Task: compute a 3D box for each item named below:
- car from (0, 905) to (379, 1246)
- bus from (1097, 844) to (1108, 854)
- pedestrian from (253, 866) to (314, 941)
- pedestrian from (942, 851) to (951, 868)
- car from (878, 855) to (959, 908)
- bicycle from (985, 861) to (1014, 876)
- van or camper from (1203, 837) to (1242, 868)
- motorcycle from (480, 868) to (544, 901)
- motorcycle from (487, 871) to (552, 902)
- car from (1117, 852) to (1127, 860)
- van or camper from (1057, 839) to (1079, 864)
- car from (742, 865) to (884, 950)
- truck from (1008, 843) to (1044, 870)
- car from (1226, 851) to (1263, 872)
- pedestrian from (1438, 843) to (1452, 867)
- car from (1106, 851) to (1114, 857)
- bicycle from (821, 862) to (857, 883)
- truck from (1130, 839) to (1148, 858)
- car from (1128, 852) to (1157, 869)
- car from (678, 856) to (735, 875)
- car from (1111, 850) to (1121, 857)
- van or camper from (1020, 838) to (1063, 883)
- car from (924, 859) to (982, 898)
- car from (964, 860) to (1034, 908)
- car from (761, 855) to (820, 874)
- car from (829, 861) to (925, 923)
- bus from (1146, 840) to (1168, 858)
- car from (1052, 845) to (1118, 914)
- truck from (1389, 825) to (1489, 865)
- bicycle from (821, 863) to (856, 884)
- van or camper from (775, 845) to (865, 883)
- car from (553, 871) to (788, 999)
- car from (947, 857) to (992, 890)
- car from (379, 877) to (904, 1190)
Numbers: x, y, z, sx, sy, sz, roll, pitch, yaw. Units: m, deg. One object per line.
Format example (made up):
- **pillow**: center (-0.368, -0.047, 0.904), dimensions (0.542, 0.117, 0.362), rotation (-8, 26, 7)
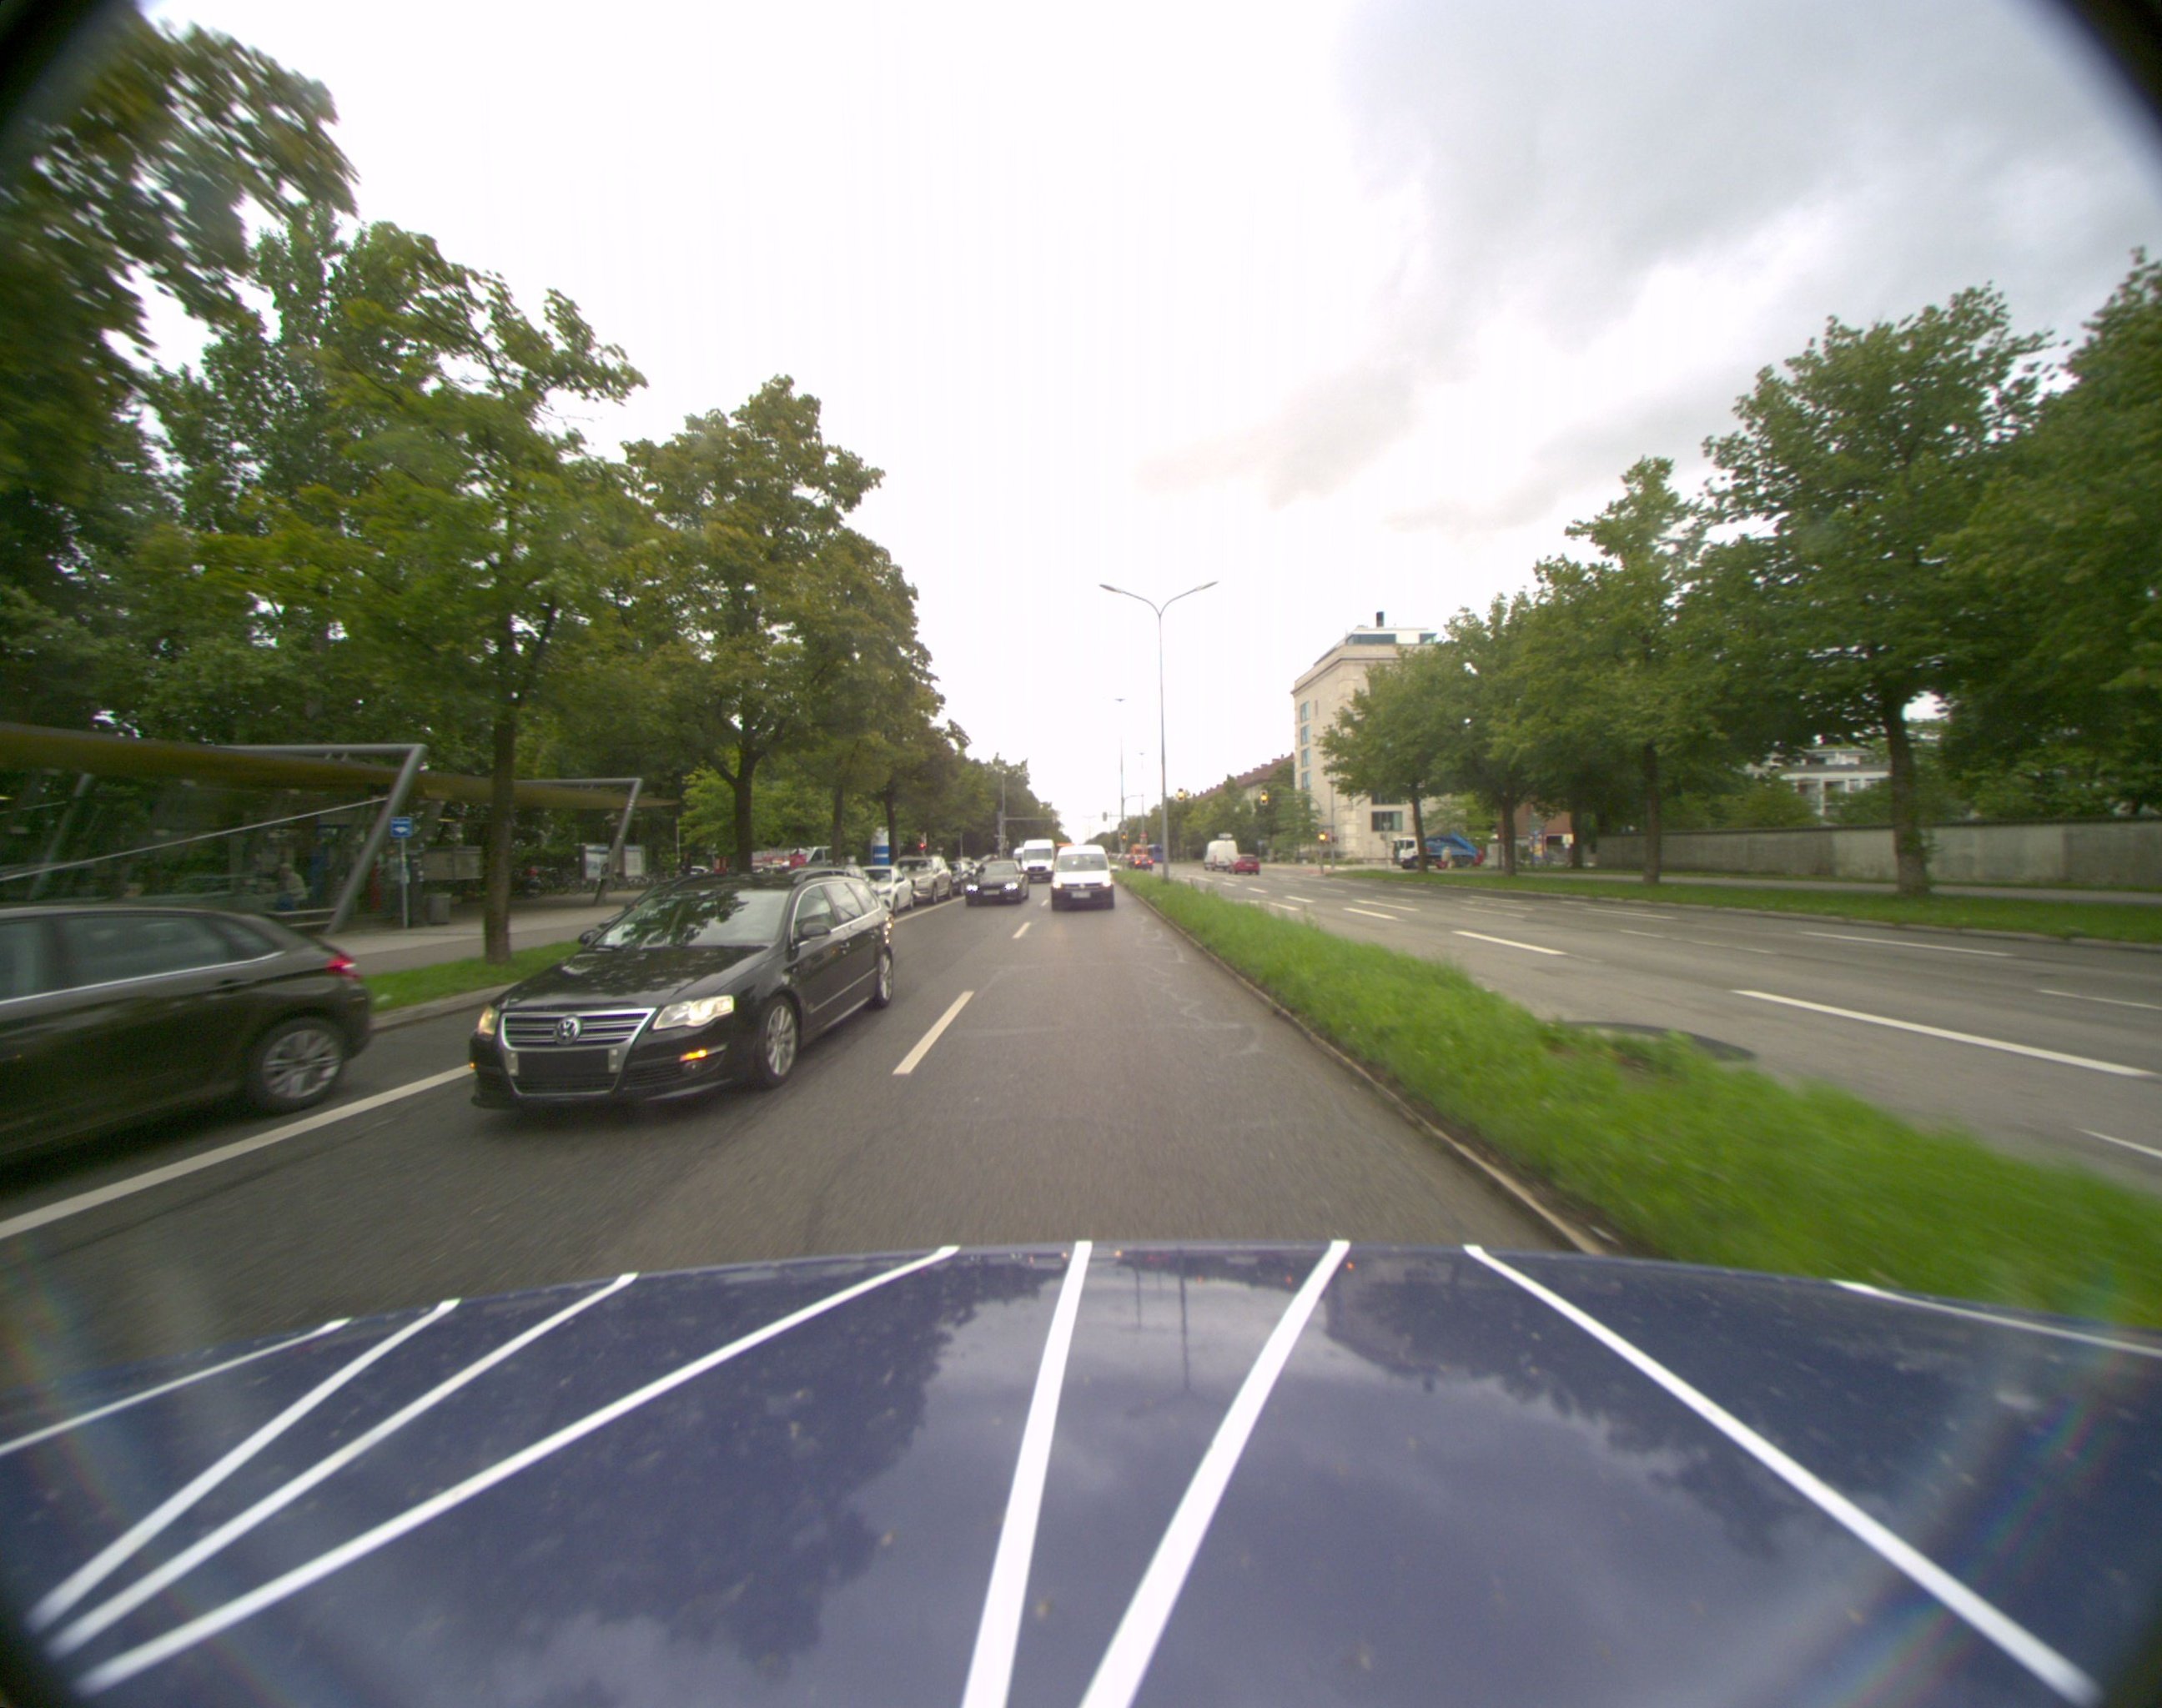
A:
- **car**: center (-6.068, 1.155, 3.470), dimensions (1.722, 1.500, 4.223), rotation (-1, 0, 1)
- **bus**: center (6.944, -1.660, 248.839), dimensions (2.752, 3.324, 12.271), rotation (0, 0, -1)
- **pedestrian**: center (-16.829, 1.026, 16.051), dimensions (0.580, 1.504, 0.693), rotation (-2, 1, -18)
- **pedestrian**: center (-13.780, 0.547, 77.841), dimensions (0.762, 1.693, 0.938), rotation (-1, 1, -9)
- **car**: center (-5.807, 0.923, 27.740), dimensions (1.752, 1.714, 4.906), rotation (-2, 0, 1)
- **bicycle**: center (-6.020, 1.054, 56.047), dimensions (1.951, 1.075, 0.746), rotation (-2, 1, -35)
- **van or camper**: center (12.437, -0.137, 67.291), dimensions (2.183, 2.631, 6.951), rotation (1, 0, 1)
- **motorcycle**: center (-21.700, 1.151, 29.027), dimensions (0.657, 1.170, 1.817), rotation (-1, 0, 26)
- **motorcycle**: center (-21.001, 1.199, 28.441), dimensions (0.657, 1.056, 1.817), rotation (-1, 1, 39)
- **car**: center (8.281, 0.403, 153.338), dimensions (1.732, 1.478, 4.742), rotation (-1, 0, 0)
- **van or camper**: center (-1.684, -0.351, 101.366), dimensions (2.780, 3.219, 7.074), rotation (-1, 0, 1)
- **car**: center (-5.732, 1.060, 16.838), dimensions (1.725, 1.525, 4.397), rotation (-1, 0, -3)
- **truck**: center (-5.715, 0.226, 80.014), dimensions (1.997, 2.589, 7.231), rotation (-2, 1, 9)
- **car**: center (12.088, 0.526, 56.431), dimensions (1.747, 1.443, 4.657), rotation (1, 0, 0)
- **pedestrian**: center (25.952, 0.073, 54.134), dimensions (0.709, 1.730, 0.517), rotation (-1, 1, -4)
- **car**: center (7.266, -0.065, 191.792), dimensions (1.931, 1.453, 4.897), rotation (1, 0, -1)
- **bicycle**: center (-14.203, 1.055, 44.557), dimensions (1.946, 1.205, 0.567), rotation (0, 1, -11)
- **truck**: center (10.947, -1.067, 143.158), dimensions (2.787, 3.337, 7.265), rotation (-1, 1, 0)
- **car**: center (5.446, 0.549, 67.689), dimensions (1.645, 1.478, 3.777), rotation (-1, 0, -10)
- **car**: center (-31.669, 0.973, 64.243), dimensions (3.947, 1.445, 1.627), rotation (-1, 1, -2)
- **car**: center (7.684, -0.176, 167.881), dimensions (1.867, 1.533, 4.749), rotation (3, 0, 1)
- **van or camper**: center (-2.397, 0.367, 47.616), dimensions (2.183, 2.546, 7.074), rotation (-1, 0, 1)
- **car**: center (-5.692, 1.033, 34.198), dimensions (1.752, 1.538, 4.642), rotation (-2, 0, 0)
- **car**: center (-2.762, 0.975, 26.494), dimensions (1.819, 1.421, 4.671), rotation (-1, 0, 1)
- **car**: center (-24.590, 0.890, 64.429), dimensions (4.312, 1.489, 1.887), rotation (-1, 1, -3)
- **car**: center (-5.957, 1.047, 22.694), dimensions (1.706, 1.499, 4.502), rotation (-3, 1, -2)
- **bus**: center (14.294, -0.979, 144.256), dimensions (2.752, 3.324, 12.047), rotation (0, 0, -1)
- **car**: center (0.075, 0.666, 22.783), dimensions (1.752, 1.809, 4.670), rotation (-1, 0, -1)
- **truck**: center (32.496, -0.803, 69.133), dimensions (7.818, 3.468, 2.772), rotation (-1, 1, 0)
- **bicycle**: center (-13.566, 1.090, 42.505), dimensions (1.809, 1.136, 0.568), rotation (0, 1, 10)
- **van or camper**: center (-16.843, 0.560, 49.480), dimensions (2.144, 2.283, 6.207), rotation (-1, 0, 18)
- **car**: center (-6.244, 1.121, 12.153), dimensions (1.546, 1.525, 4.089), rotation (-2, 0, -1)
- **car**: center (-5.800, 0.963, 39.948), dimensions (1.717, 1.538, 4.381), rotation (-1, 0, -1)
- **car**: center (-2.919, 1.046, 6.456), dimensions (1.752, 1.466, 4.670), rotation (-2, 0, -1)
